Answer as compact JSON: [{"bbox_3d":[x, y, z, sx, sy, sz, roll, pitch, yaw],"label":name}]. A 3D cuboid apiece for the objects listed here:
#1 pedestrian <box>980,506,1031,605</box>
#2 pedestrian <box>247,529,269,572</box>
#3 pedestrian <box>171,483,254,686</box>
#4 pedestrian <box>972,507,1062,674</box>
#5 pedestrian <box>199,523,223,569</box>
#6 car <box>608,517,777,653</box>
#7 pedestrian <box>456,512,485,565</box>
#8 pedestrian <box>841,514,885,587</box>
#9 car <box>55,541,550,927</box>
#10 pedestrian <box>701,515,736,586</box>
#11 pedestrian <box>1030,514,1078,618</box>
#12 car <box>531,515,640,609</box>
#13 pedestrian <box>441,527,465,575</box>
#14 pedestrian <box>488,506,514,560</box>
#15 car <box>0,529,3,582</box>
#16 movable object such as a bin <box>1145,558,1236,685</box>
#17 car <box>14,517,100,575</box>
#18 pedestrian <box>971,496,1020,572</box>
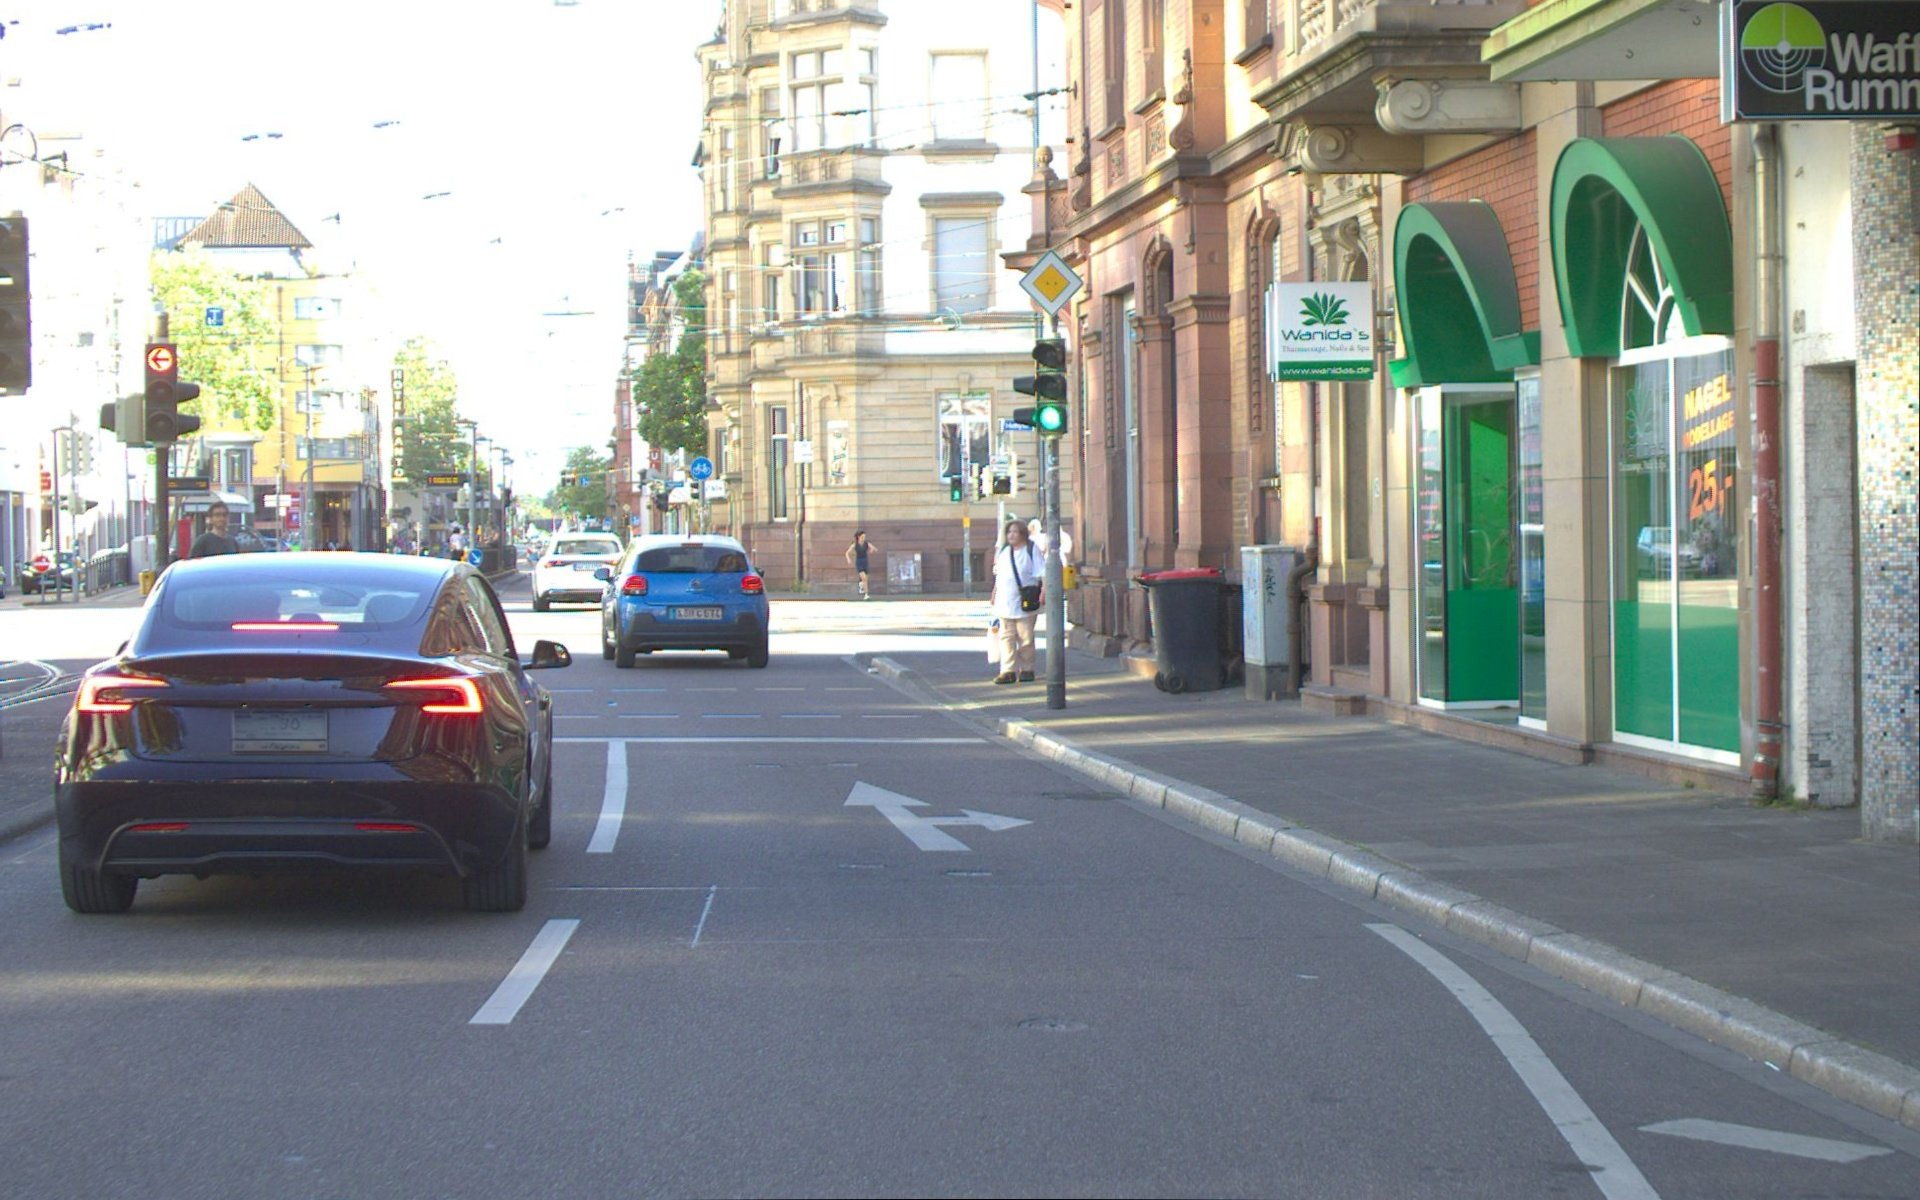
[{"bbox_3d":[0.772,-0.749,58.008,0.701,1.649,0.631,-1,0,16],"label":"pedestrian"},{"bbox_3d":[-25.405,-1.790,124.479,0.731,1.553,0.743,0,2,-7],"label":"pedestrian"},{"bbox_3d":[-6.670,-0.147,30.723,0.558,1.757,0.895,-3,2,-6],"label":"pedestrian"},{"bbox_3d":[0.556,-0.099,33.723,0.681,1.602,0.731,-1,1,-15],"label":"pedestrian"},{"bbox_3d":[-25.296,-1.826,116.133,0.731,1.522,0.743,0,2,-7],"label":"pedestrian"},{"bbox_3d":[-3.084,-0.205,39.124,1.780,1.446,3.655,1,1,-6],"label":"car"},{"bbox_3d":[-16.305,-2.055,114.517,0.718,1.771,0.564,0,1,30],"label":"pedestrian"},{"bbox_3d":[-2.186,-1.114,77.643,0.922,1.626,0.942,-1,0,2],"label":"pedestrian"},{"bbox_3d":[-2.709,0.474,14.975,1.810,1.419,4.155,1,1,-7],"label":"car"},{"bbox_3d":[-6.080,-1.261,86.394,0.779,1.743,1.093,0,3,-9],"label":"pedestrian"},{"bbox_3d":[1.581,-0.566,57.876,0.644,1.739,0.705,1,0,15],"label":"pedestrian"},{"bbox_3d":[-7.190,-0.714,66.077,1.993,1.737,4.001,1,0,-6],"label":"car"},{"bbox_3d":[-16.799,-1.629,113.981,0.586,1.556,0.469,0,1,30],"label":"pedestrian"},{"bbox_3d":[-14.641,-2.139,109.662,0.636,1.692,0.933,1,0,1],"label":"pedestrian"},{"bbox_3d":[-29.820,-1.332,102.442,1.993,1.590,4.001,-1,0,-9],"label":"car"},{"bbox_3d":[2.039,0.186,30.474,0.663,1.069,0.591,-4,1,-4],"label":"movable object such as a bin"},{"bbox_3d":[-30.737,-1.849,117.096,2.226,1.904,4.610,-1,1,-7],"label":"car"},{"bbox_3d":[0.733,-1.347,70.450,0.633,1.532,0.940,-1,0,26],"label":"pedestrian"}]
